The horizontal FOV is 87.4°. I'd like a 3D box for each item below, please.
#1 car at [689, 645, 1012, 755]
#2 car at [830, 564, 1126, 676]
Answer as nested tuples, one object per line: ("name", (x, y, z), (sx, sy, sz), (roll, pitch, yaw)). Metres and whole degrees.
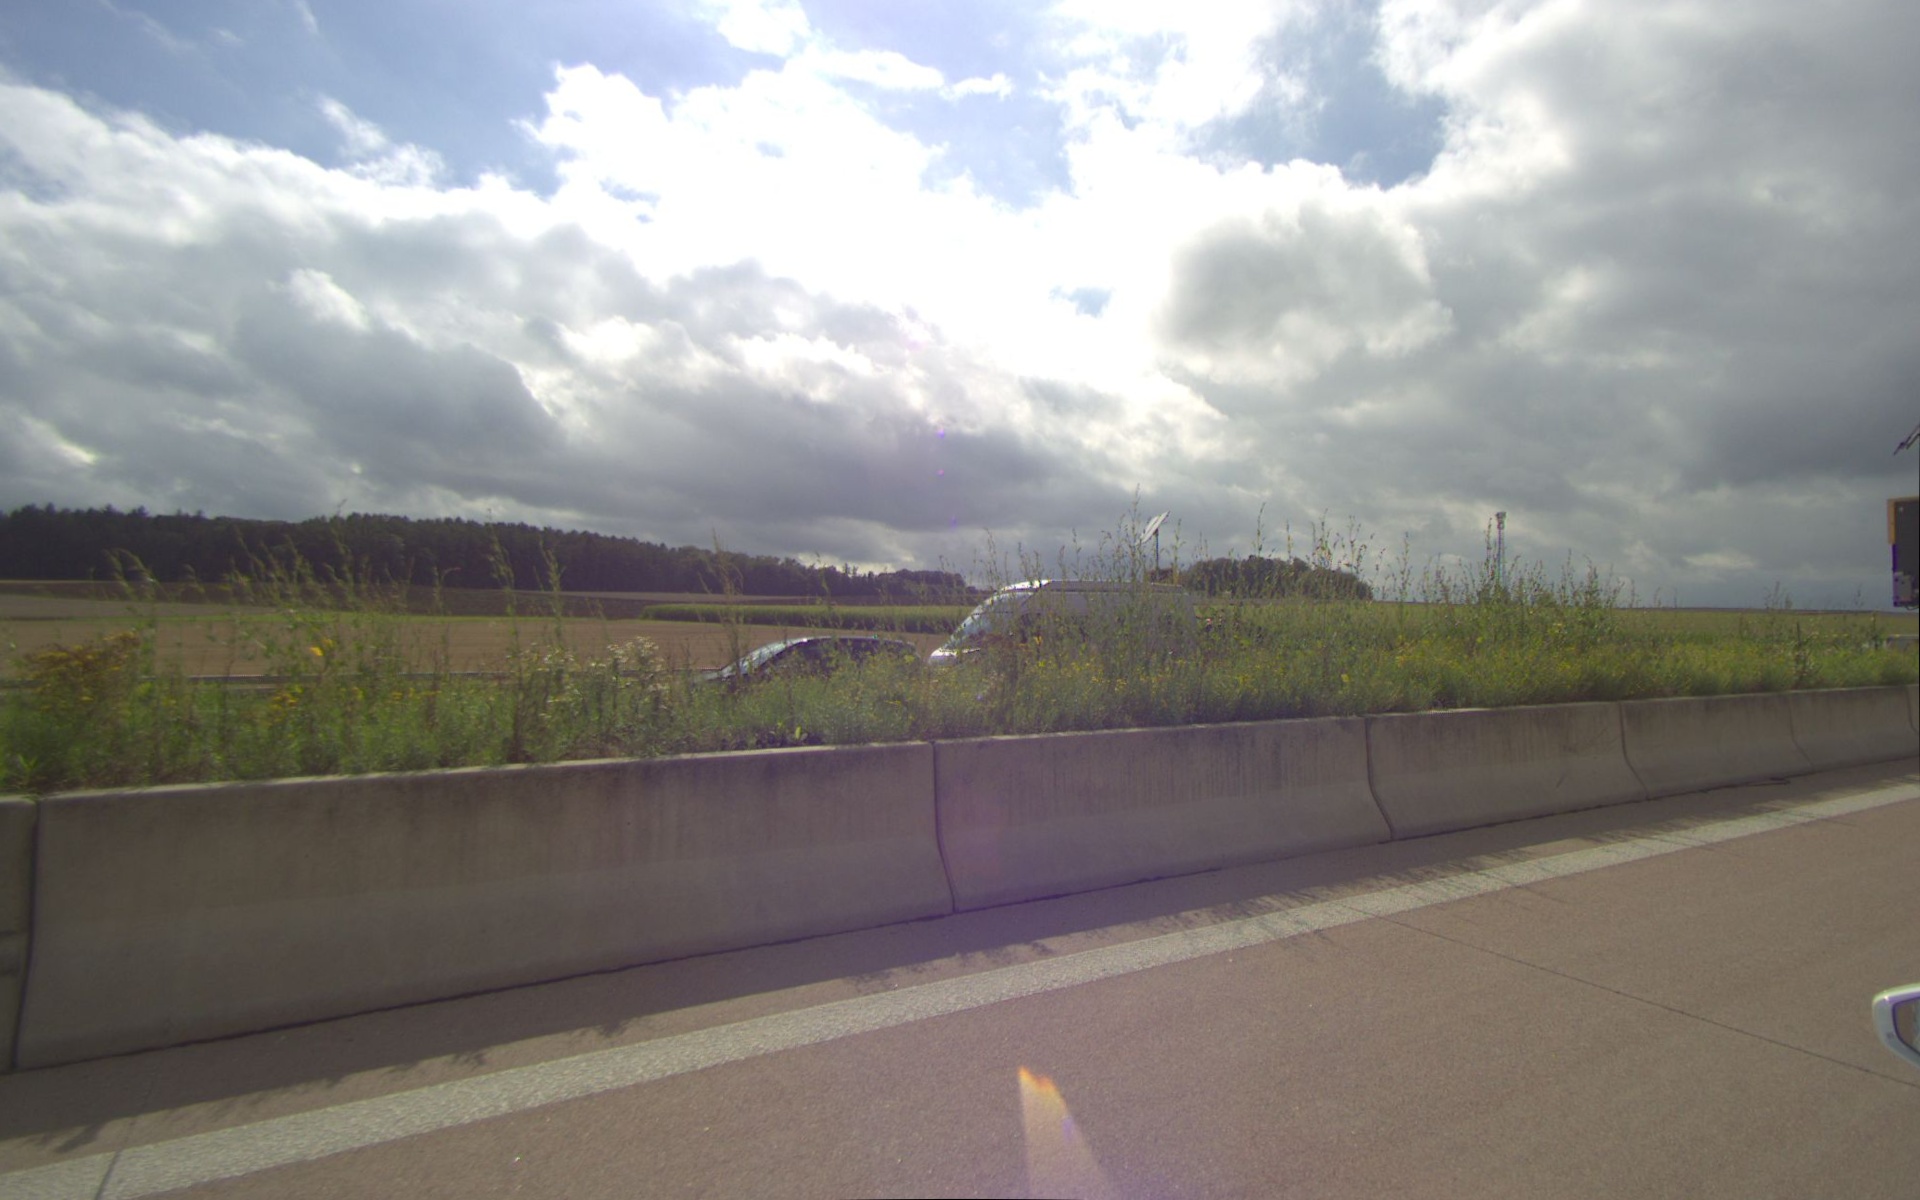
("car", (-1.571, 1.353, 14.682), (4.295, 1.360, 1.985), (1, -2, -29))
("car", (0.438, 0.432, 19.806), (5.636, 1.938, 2.048), (1, -2, -30))
